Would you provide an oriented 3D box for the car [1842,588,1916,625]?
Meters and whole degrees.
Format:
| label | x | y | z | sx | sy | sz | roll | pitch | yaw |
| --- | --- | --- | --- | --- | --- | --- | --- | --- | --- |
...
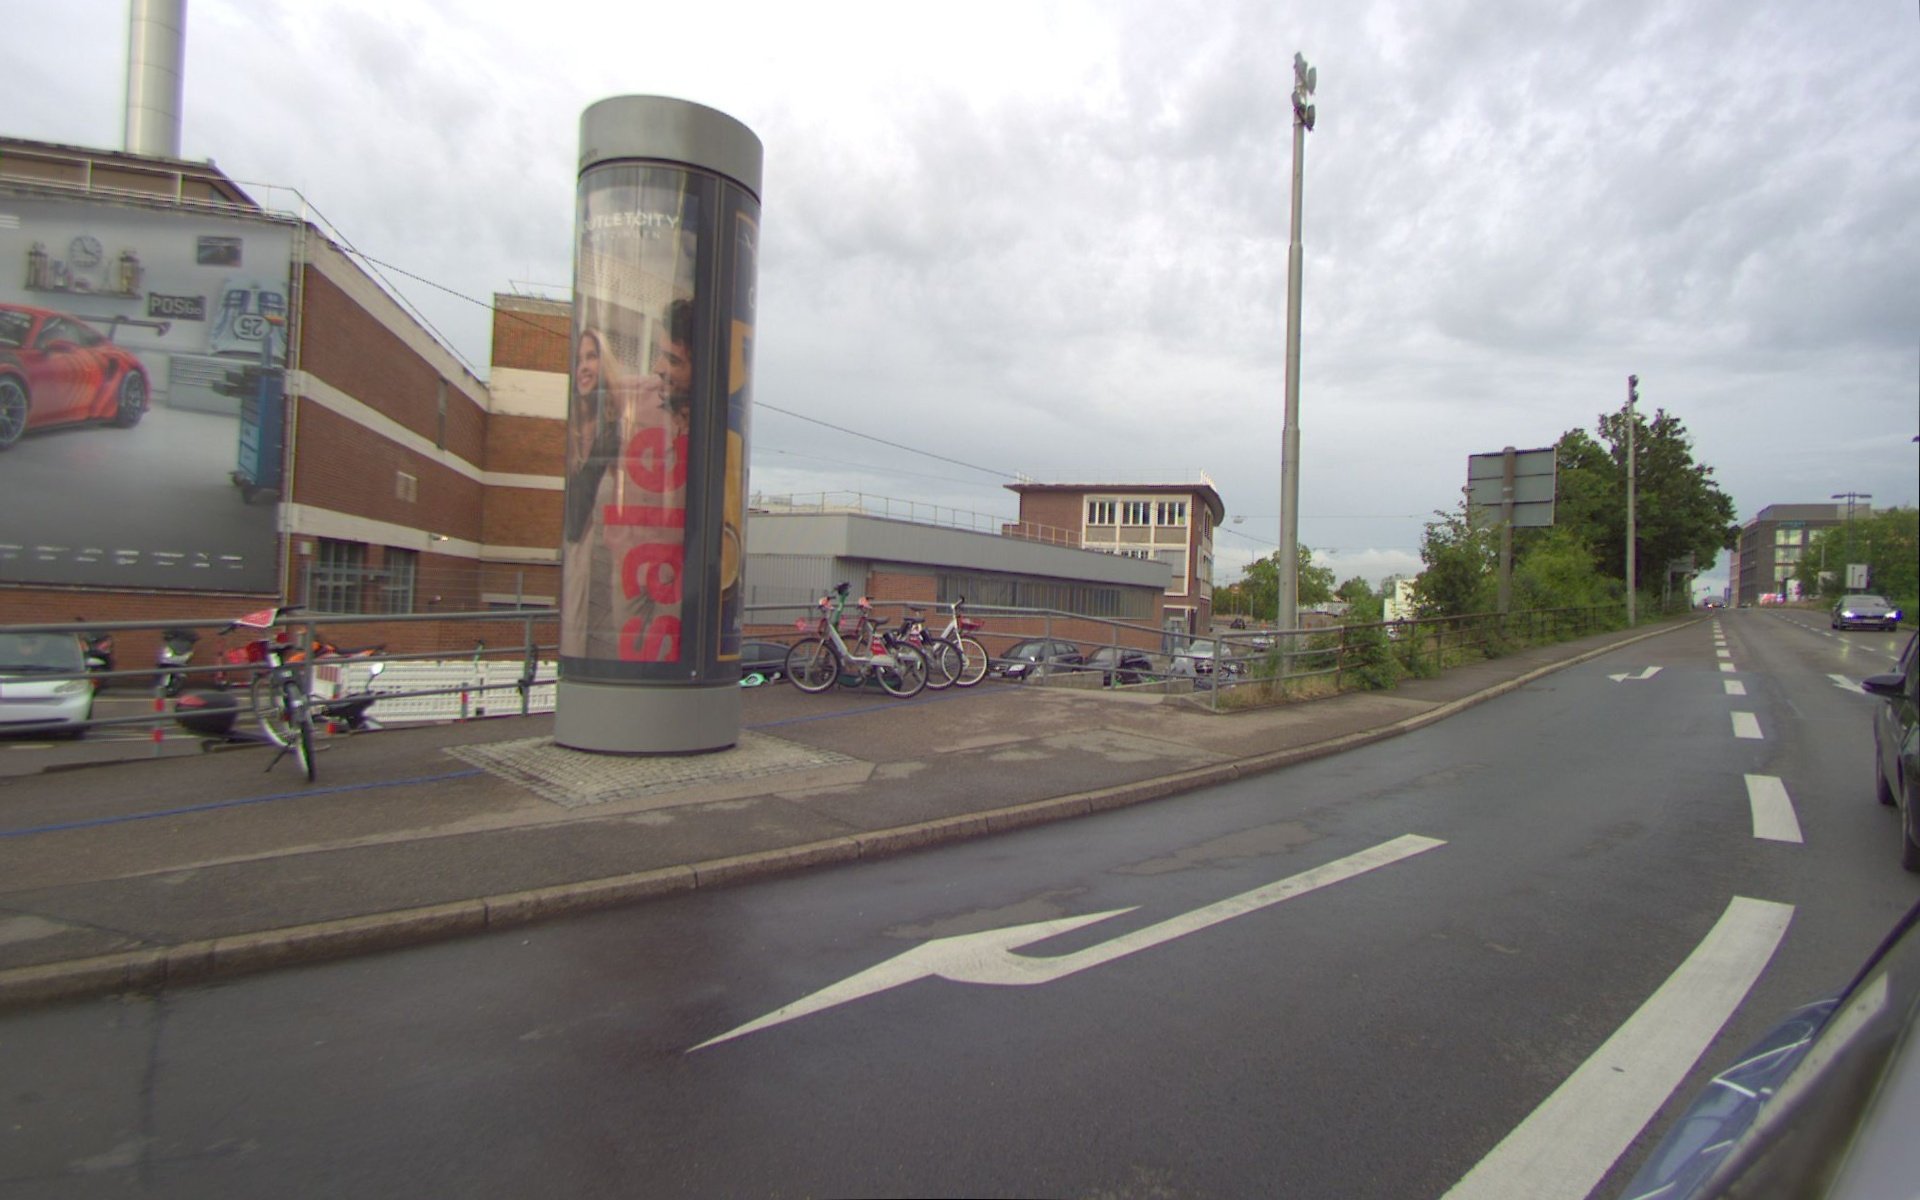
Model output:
| label | x | y | z | sx | sy | sz | roll | pitch | yaw |
| --- | --- | --- | --- | --- | --- | --- | --- | --- | --- |
| car | 37.792 | 0.240 | 41.705 | 1.807 | 1.457 | 4.246 | 0 | 0 | 36 |

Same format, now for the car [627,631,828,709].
| label | x | y | z | sx | sy | sz | roll | pitch | yaw |
| --- | --- | --- | --- | --- | --- | --- | --- | --- | --- |
| car | -5.362 | 1.560 | 23.880 | 1.880 | 1.570 | 4.445 | 1 | -1 | 38 |

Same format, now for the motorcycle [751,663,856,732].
| label | x | y | z | sx | sy | sz | roll | pitch | yaw |
| --- | --- | --- | --- | --- | --- | --- | --- | --- | --- |
| motorcycle | -2.344 | 1.432 | 15.058 | 1.600 | 0.933 | 0.417 | 0 | 0 | 27 |

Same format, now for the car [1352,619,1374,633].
| label | x | y | z | sx | sy | sz | roll | pitch | yaw |
| --- | --- | --- | --- | --- | --- | --- | --- | --- | --- |
| car | 45.005 | 2.910 | 113.096 | 1.695 | 1.444 | 3.982 | 1 | 0 | 14 |

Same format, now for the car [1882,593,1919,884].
| label | x | y | z | sx | sy | sz | roll | pitch | yaw |
| --- | --- | --- | --- | --- | --- | --- | --- | --- | --- |
| car | 6.779 | 0.728 | 6.069 | 1.687 | 1.526 | 3.953 | 0 | 1 | 40 |

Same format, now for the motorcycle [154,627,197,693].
| label | x | y | z | sx | sy | sz | roll | pitch | yaw |
| --- | --- | --- | --- | --- | --- | --- | --- | --- | --- |
| motorcycle | -15.225 | 1.140 | 19.674 | 0.574 | 1.166 | 1.720 | -1 | 0 | -35 |

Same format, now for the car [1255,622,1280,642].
| label | x | y | z | sx | sy | sz | roll | pitch | yaw |
| --- | --- | --- | --- | --- | --- | --- | --- | --- | --- |
| car | 23.256 | 2.402 | 76.462 | 1.698 | 1.444 | 3.976 | 1 | 0 | 18 |

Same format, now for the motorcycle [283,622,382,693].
| label | x | y | z | sx | sy | sz | roll | pitch | yaw |
| --- | --- | --- | --- | --- | --- | --- | --- | --- | --- |
| motorcycle | -12.875 | 1.147 | 20.799 | 0.521 | 1.350 | 1.646 | -1 | 0 | 38 |

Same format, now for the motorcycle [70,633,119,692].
| label | x | y | z | sx | sy | sz | roll | pitch | yaw |
| --- | --- | --- | --- | --- | --- | --- | --- | --- | --- |
| motorcycle | -16.191 | 1.149 | 18.955 | 0.531 | 0.985 | 1.616 | -1 | 0 | -35 |

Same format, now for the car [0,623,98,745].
| label | x | y | z | sx | sy | sz | roll | pitch | yaw |
| --- | --- | --- | --- | --- | --- | --- | --- | --- | --- |
| car | -13.990 | 1.159 | 15.130 | 1.541 | 1.508 | 3.992 | 2 | -1 | -42 |

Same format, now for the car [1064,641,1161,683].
| label | x | y | z | sx | sy | sz | roll | pitch | yaw |
| --- | --- | --- | --- | --- | --- | --- | --- | --- | --- |
| car | 5.934 | 2.334 | 39.006 | 1.713 | 1.422 | 4.211 | 1 | -1 | 41 |

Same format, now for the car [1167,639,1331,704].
| label | x | y | z | sx | sy | sz | roll | pitch | yaw |
| --- | --- | --- | --- | --- | --- | --- | --- | --- | --- |
| car | 7.583 | 1.834 | 26.899 | 1.688 | 1.444 | 3.999 | 2 | -1 | -36 |

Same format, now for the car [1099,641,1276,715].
| label | x | y | z | sx | sy | sz | roll | pitch | yaw |
| --- | --- | --- | --- | --- | --- | --- | --- | --- | --- |
| car | 5.315 | 1.778 | 24.072 | 1.688 | 1.444 | 3.999 | 2 | -1 | -36 |

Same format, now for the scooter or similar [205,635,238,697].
| label | x | y | z | sx | sy | sz | roll | pitch | yaw |
| --- | --- | --- | --- | --- | --- | --- | --- | --- | --- |
| scooter or similar | -14.635 | 1.292 | 20.080 | 0.495 | 1.110 | 1.639 | -1 | 0 | -35 |

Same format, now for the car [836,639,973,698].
| label | x | y | z | sx | sy | sz | roll | pitch | yaw |
| --- | --- | --- | --- | --- | --- | --- | --- | --- | --- |
| car | -1.507 | 1.893 | 28.864 | 1.712 | 1.444 | 3.943 | 1 | -1 | 39 |

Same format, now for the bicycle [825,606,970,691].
| label | x | y | z | sx | sy | sz | roll | pitch | yaw |
| --- | --- | --- | --- | --- | --- | --- | --- | --- | --- |
| bicycle | -0.733 | 0.571 | 12.120 | 1.673 | 0.933 | 0.486 | 1 | 1 | 4 |

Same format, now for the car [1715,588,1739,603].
| label | x | y | z | sx | sy | sz | roll | pitch | yaw |
| --- | --- | --- | --- | --- | --- | --- | --- | --- | --- |
| car | 81.200 | -0.509 | 107.148 | 1.737 | 1.493 | 4.021 | 0 | 0 | 33 |

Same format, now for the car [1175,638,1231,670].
| label | x | y | z | sx | sy | sz | roll | pitch | yaw |
| --- | --- | --- | --- | --- | --- | --- | --- | --- | --- |
| car | 12.228 | 2.673 | 50.698 | 1.718 | 1.406 | 3.958 | 1 | -1 | 29 |

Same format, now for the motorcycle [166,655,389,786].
| label | x | y | z | sx | sy | sz | roll | pitch | yaw |
| --- | --- | --- | --- | --- | --- | --- | --- | --- | --- |
| motorcycle | -5.722 | 0.970 | 8.568 | 0.400 | 0.901 | 1.521 | 1 | 1 | 36 |

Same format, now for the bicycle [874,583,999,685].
| label | x | y | z | sx | sy | sz | roll | pitch | yaw |
| --- | --- | --- | --- | --- | --- | --- | --- | --- | --- |
| bicycle | -0.306 | 0.408 | 12.843 | 1.527 | 1.169 | 0.448 | 3 | 3 | 22 |

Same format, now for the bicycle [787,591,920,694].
| label | x | y | z | sx | sy | sz | roll | pitch | yaw |
| --- | --- | --- | --- | --- | --- | --- | --- | --- | --- |
| bicycle | -1.219 | 0.477 | 11.650 | 1.438 | 1.087 | 0.442 | 2 | 2 | 9 |

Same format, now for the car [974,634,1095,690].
| label | x | y | z | sx | sy | sz | roll | pitch | yaw |
| --- | --- | --- | --- | --- | --- | --- | --- | --- | --- |
| car | 2.592 | 2.038 | 34.334 | 1.777 | 1.688 | 4.438 | 1 | -1 | 41 |

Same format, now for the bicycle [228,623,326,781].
| label | x | y | z | sx | sy | sz | roll | pitch | yaw |
| --- | --- | --- | --- | --- | --- | --- | --- | --- | --- |
| bicycle | -4.829 | 0.658 | 7.120 | 0.414 | 0.933 | 1.615 | 1 | 0 | -39 |

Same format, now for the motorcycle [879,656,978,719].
| label | x | y | z | sx | sy | sz | roll | pitch | yaw |
| --- | --- | --- | --- | --- | --- | --- | --- | --- | --- |
| motorcycle | -0.517 | 1.403 | 16.410 | 1.599 | 0.933 | 0.418 | 0 | 0 | 25 |
